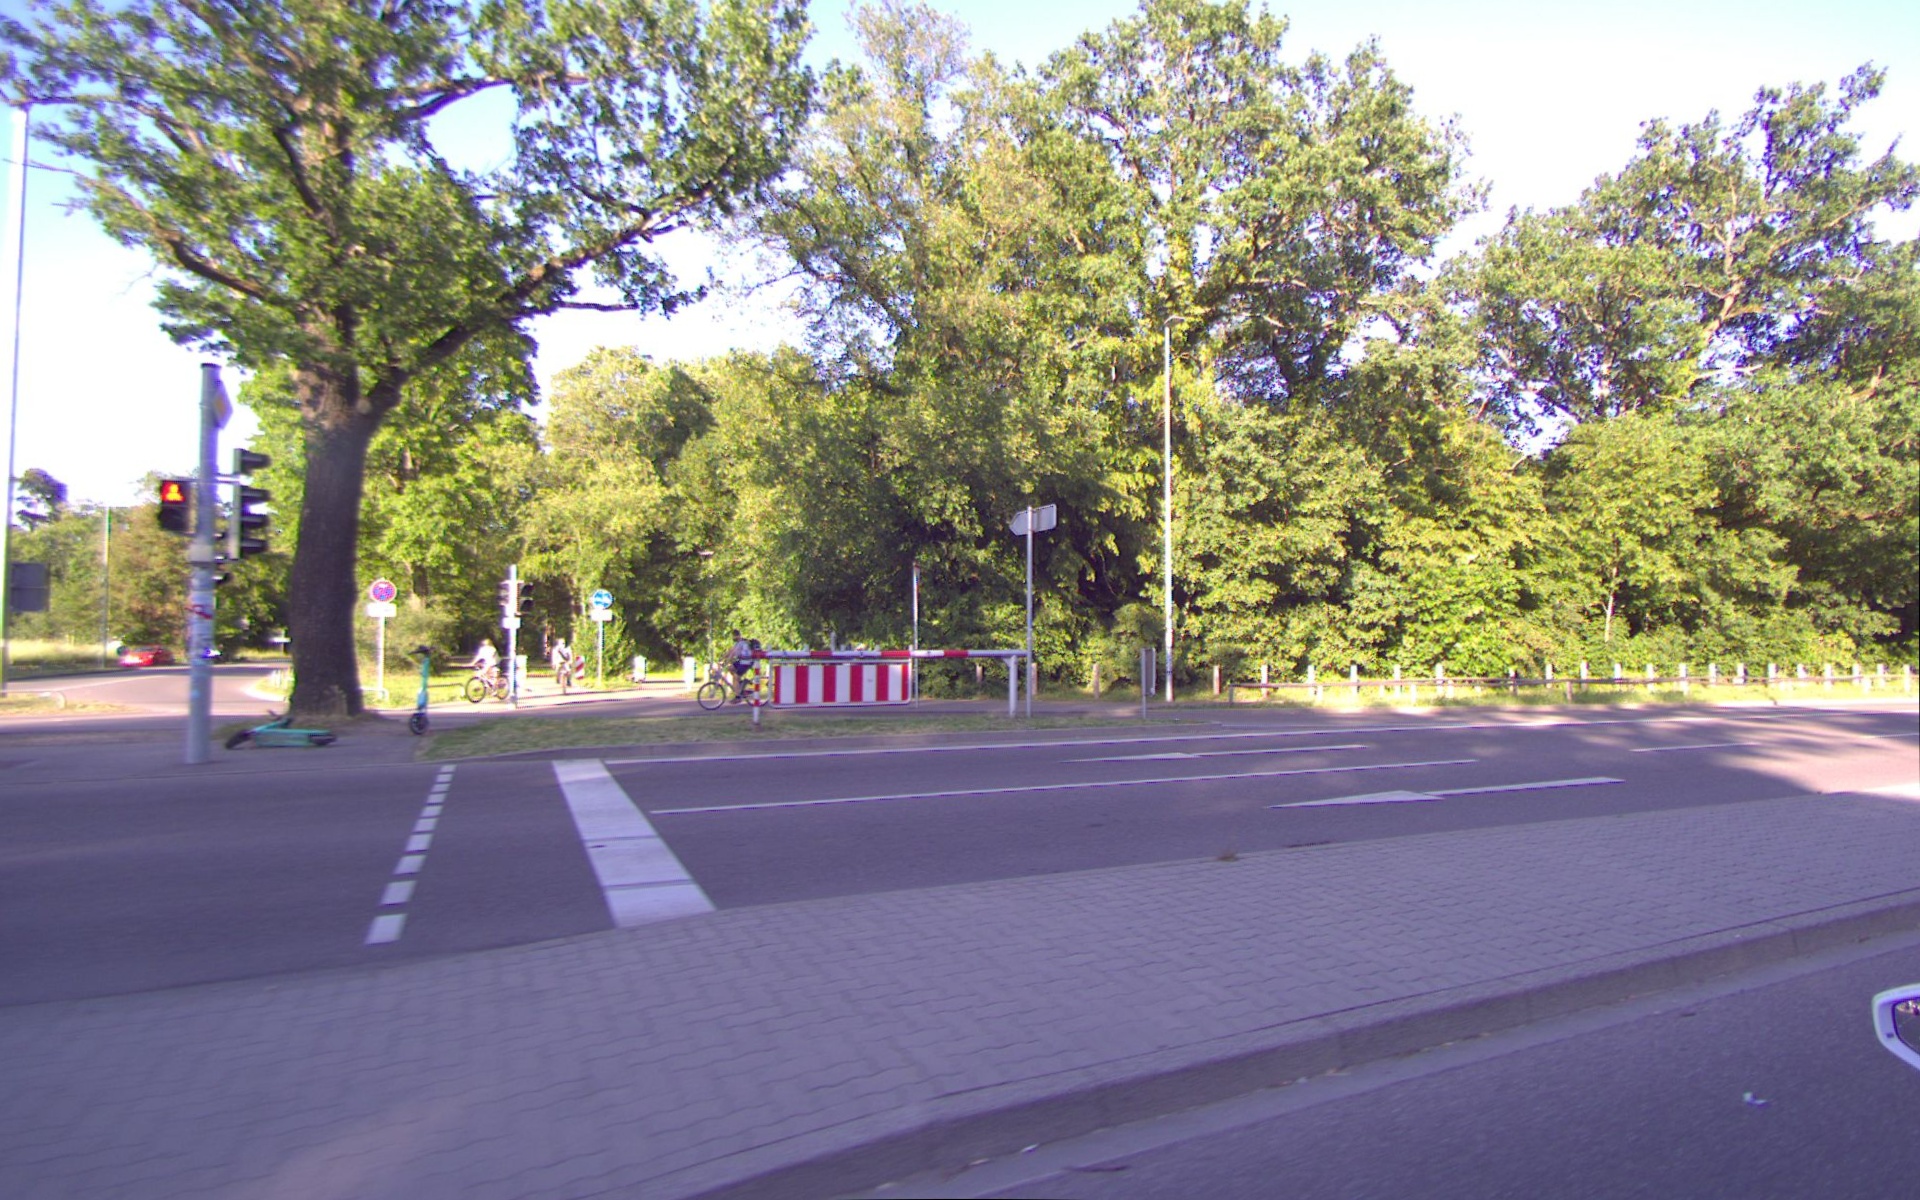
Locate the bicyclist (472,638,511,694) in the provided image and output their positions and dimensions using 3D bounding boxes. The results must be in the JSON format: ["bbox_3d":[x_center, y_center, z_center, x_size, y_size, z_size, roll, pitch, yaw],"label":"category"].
[{"bbox_3d":[-12.829,1.801,27.528,0.716,1.502,0.799,1,-1,-5],"label":"bicyclist"}]

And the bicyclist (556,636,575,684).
[{"bbox_3d":[-11.744,1.787,29.914,0.511,1.419,0.527,1,-1,-22],"label":"bicyclist"}]

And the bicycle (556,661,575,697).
[{"bbox_3d":[-11.753,2.353,29.905,0.515,0.990,1.348,1,-1,-22],"label":"bicycle"}]

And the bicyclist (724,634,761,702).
[{"bbox_3d":[-5.135,1.593,23.758,0.785,1.572,0.563,-1,-1,-9],"label":"bicyclist"}]

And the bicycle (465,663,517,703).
[{"bbox_3d":[-12.842,2.259,27.545,0.770,0.990,1.589,1,-1,-5],"label":"bicycle"}]

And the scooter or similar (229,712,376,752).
[{"bbox_3d":[-8.348,1.670,12.846,1.240,0.344,1.406,0,-2,-19],"label":"scooter or similar"}]

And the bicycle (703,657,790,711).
[{"bbox_3d":[-5.032,1.972,23.782,1.948,1.169,0.681,-1,-1,-9],"label":"bicycle"}]

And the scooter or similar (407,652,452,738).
[{"bbox_3d":[-7.496,1.316,14.211,0.388,1.161,1.066,0,-2,-18],"label":"scooter or similar"}]

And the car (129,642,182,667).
[{"bbox_3d":[-53.791,3.640,67.228,1.632,1.530,3.980,2,-1,-21],"label":"car"}]
